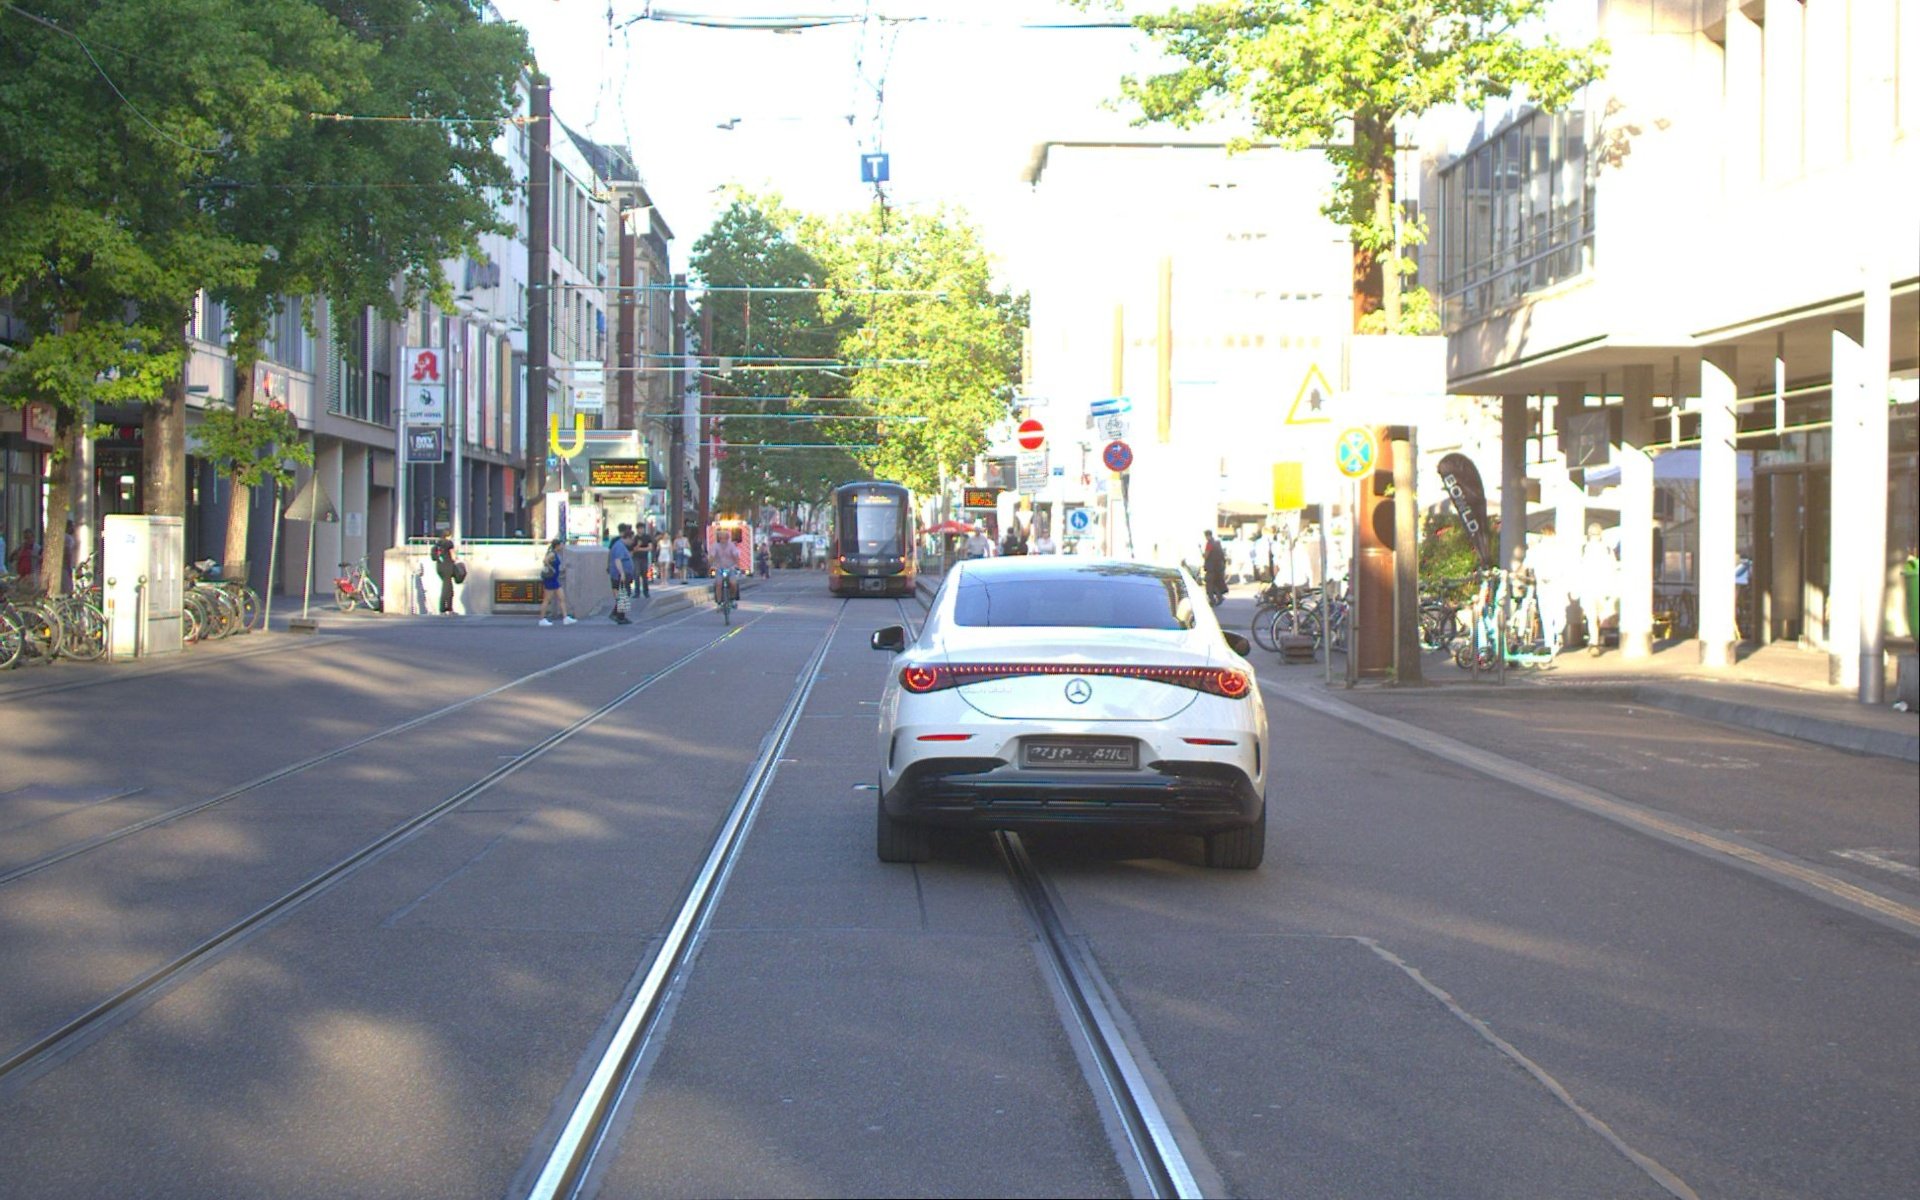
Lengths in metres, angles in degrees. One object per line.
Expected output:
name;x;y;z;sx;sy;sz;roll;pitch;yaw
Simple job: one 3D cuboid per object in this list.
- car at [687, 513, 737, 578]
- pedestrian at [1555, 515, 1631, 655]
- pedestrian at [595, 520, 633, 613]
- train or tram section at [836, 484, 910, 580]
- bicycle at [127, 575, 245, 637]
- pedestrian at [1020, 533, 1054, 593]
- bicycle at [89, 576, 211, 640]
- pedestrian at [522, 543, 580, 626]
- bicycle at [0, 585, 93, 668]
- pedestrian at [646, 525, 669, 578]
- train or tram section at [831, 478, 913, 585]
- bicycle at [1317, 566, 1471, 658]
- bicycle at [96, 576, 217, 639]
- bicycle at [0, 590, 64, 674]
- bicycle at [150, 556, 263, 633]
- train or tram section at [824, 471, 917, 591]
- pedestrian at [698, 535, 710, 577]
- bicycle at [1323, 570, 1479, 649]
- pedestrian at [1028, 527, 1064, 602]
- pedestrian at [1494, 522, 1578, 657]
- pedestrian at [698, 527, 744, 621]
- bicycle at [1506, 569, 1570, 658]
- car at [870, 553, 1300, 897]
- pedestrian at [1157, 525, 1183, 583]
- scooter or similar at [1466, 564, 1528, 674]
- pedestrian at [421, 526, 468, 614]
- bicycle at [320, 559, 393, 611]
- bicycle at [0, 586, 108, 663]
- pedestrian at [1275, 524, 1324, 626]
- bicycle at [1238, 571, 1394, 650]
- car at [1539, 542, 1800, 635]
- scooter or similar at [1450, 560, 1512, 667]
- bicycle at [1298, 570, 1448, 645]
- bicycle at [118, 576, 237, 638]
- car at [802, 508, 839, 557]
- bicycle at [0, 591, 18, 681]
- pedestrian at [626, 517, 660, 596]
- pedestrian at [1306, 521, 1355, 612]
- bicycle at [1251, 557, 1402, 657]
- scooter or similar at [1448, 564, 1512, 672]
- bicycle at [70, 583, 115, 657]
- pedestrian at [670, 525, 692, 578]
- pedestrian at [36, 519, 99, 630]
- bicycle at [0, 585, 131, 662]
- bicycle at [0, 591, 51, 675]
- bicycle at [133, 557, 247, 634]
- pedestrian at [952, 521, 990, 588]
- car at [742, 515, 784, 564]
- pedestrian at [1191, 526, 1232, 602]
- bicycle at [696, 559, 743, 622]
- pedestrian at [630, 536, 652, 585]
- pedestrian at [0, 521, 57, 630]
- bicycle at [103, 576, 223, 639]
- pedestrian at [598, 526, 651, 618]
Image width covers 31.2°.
car;-11.290;-2.498;156.935;1.993;2.887;5.275;0;1;-1
pedestrian;8.372;-0.204;45.482;0.701;1.806;1.033;-3;1;-2
pedestrian;-7.222;-0.702;71.694;0.540;1.922;0.571;1;1;43
train or tram section;-3.318;-2.573;131.074;2.694;3.504;11.144;0;1;-1
bicycle;-10.427;0.082;46.311;1.492;0.780;0.344;2;1;0
pedestrian;2.305;-1.117;103.211;0.960;1.779;0.804;-1;1;-2
bicycle;-10.564;0.104;44.858;1.492;0.780;0.344;2;1;0
pedestrian;-7.503;-0.291;63.097;0.955;1.491;0.944;0;1;-1
bicycle;-9.934;0.268;36.211;1.492;0.838;0.344;2;1;0
pedestrian;-9.189;-1.483;104.411;0.660;1.593;0.573;0;1;-2
train or tram section;-3.043;-2.356;119.236;2.694;3.504;12.546;0;1;-1
bicycle;5.733;0.157;45.406;1.907;1.152;0.610;-1;1;-12
bicycle;-10.567;0.098;45.217;1.492;0.780;0.344;2;1;0
bicycle;-10.068;0.317;35.543;1.492;0.838;0.344;2;1;0
bicycle;-10.453;-0.074;47.706;1.492;1.025;0.345;2;1;-11
train or tram section;-2.759;-2.121;106.687;2.694;3.504;12.546;0;1;-1
pedestrian;-9.809;-1.686;131.780;0.414;1.624;0.606;0;1;-1
bicycle;6.229;0.133;48.608;2.113;1.092;0.610;0;1;-14
pedestrian;1.956;-0.821;78.532;0.746;1.692;0.840;0;1;-4
pedestrian;7.677;-0.149;45.820;0.899;1.739;0.690;-3;1;-2
pedestrian;-4.605;-0.507;66.204;0.800;1.776;0.849;2;1;-2
bicycle;7.662;0.169;45.639;0.564;1.124;1.929;-1;1;2
car;0.496;0.522;17.217;1.857;1.450;4.175;1;1;-2
pedestrian;6.487;-1.438;106.323;0.727;1.779;0.708;1;1;-2
scooter or similar;6.379;0.222;40.857;0.491;1.273;0.660;-2;1;-12
pedestrian;-10.134;-0.592;67.618;0.837;1.711;0.785;0;1;-3
bicycle;-12.087;-0.306;68.880;0.719;1.006;2.038;1;1;12
bicycle;-9.946;0.260;36.920;1.492;0.780;0.344;2;1;0
pedestrian;6.059;-0.452;61.387;0.748;1.779;0.767;-1;1;-2
bicycle;5.100;0.147;49.259;2.113;1.092;0.610;1;0;-12
car;11.435;-0.195;55.543;3.801;1.468;1.649;0;1;-6
scooter or similar;6.352;0.159;41.936;0.527;1.273;0.660;-2;1;-12
bicycle;6.106;0.104;50.806;2.113;1.092;0.610;0;1;-12
bicycle;-10.452;0.094;45.942;1.492;0.780;0.344;2;1;0
car;-8.412;-4.065;207.897;2.099;2.887;5.275;0;1;-1
bicycle;-10.060;0.336;33.788;1.492;0.873;0.345;2;1;-7
pedestrian;-7.073;-0.977;76.757;0.550;1.754;0.520;1;1;27
pedestrian;7.397;-0.672;68.605;0.840;1.779;0.804;-1;1;-2
bicycle;4.931;0.087;46.270;1.907;1.277;0.610;-1;1;-12
scooter or similar;6.256;0.211;41.371;0.527;1.273;0.660;-2;1;-12
bicycle;-9.721;0.220;38.547;0.343;0.780;1.405;2;1;-9
pedestrian;-8.480;-1.475;104.500;0.660;1.593;0.573;0;1;-2
pedestrian;-14.272;-0.410;54.949;0.723;1.755;0.818;0;1;-36
bicycle;-9.860;0.255;37.594;1.492;0.780;0.344;2;1;0
bicycle;-10.102;0.321;35.174;1.492;0.838;0.344;2;1;0
bicycle;-10.576;-0.064;47.265;1.492;1.006;0.345;2;1;-11
pedestrian;0.302;-1.221;92.462;0.960;1.779;0.804;-1;1;-2
car;-10.070;-3.101;175.828;1.910;2.452;5.275;0;1;-1
pedestrian;5.509;-0.794;75.218;0.838;1.656;0.785;0;1;1
bicycle;-4.617;-0.194;66.165;0.800;1.138;2.257;2;1;-3
pedestrian;-10.427;-1.308;112.315;0.660;1.593;0.573;0;1;-2
pedestrian;-15.169;-0.410;55.855;0.816;1.755;0.780;0;1;-3
bicycle;-10.566;0.092;45.577;1.492;0.780;0.344;2;1;0
pedestrian;-6.238;-0.527;63.959;0.905;1.692;0.849;0;1;-1
